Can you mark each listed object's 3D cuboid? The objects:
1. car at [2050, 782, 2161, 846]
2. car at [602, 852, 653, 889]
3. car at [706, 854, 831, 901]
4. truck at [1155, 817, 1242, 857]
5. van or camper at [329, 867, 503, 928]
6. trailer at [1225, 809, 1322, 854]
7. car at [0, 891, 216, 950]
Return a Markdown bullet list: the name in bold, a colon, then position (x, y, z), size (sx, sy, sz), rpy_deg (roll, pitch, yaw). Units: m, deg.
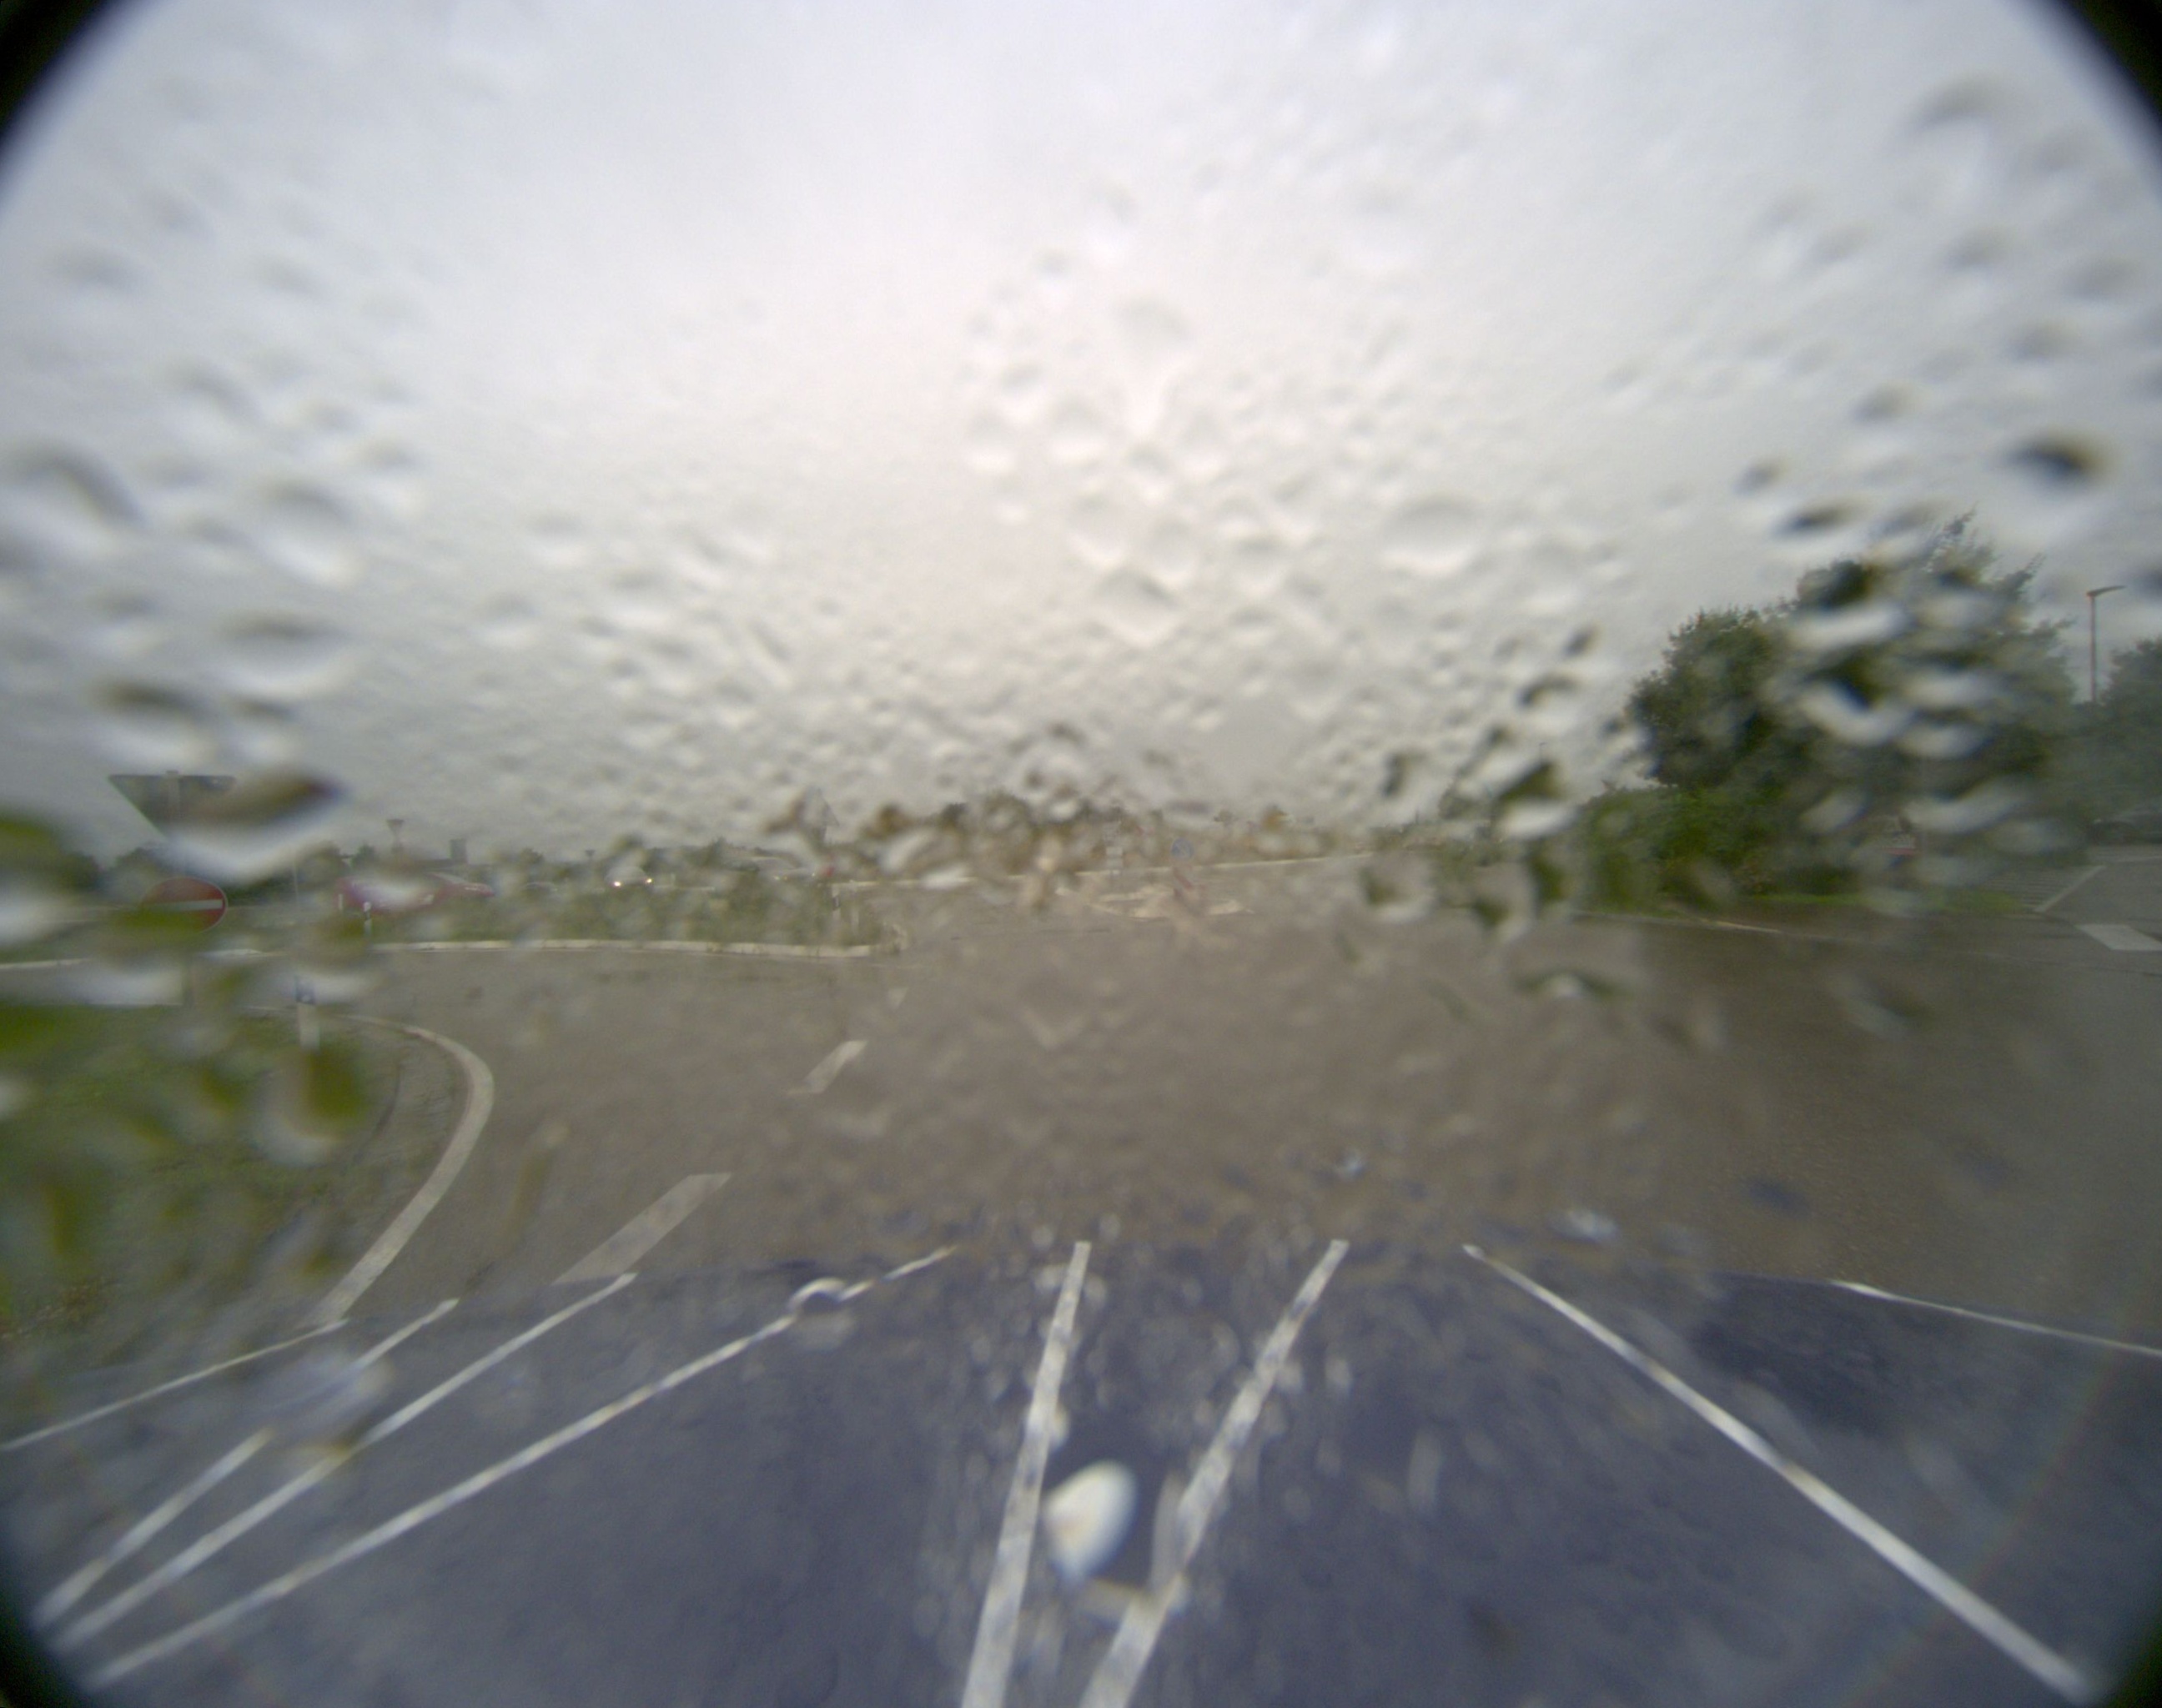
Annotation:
- **car**: position (31.269, -1.195, 21.317), size (2.000, 1.711, 4.605), rpy_deg (-3, 0, -12)
- **car**: position (-22.614, 0.763, 37.831), size (1.829, 1.582, 3.989), rpy_deg (-7, 4, -33)
- **car**: position (-11.951, 0.897, 29.009), size (4.488, 1.566, 2.003), rpy_deg (-2, 2, 30)
- **truck**: position (11.925, -1.701, 77.696), size (8.152, 3.577, 3.123), rpy_deg (-3, 1, 41)
- **van or camper**: position (-27.161, 1.718, 31.255), size (4.851, 2.003, 1.996), rpy_deg (-3, 3, -20)
- **trailer**: position (17.866, -2.029, 71.121), size (3.105, 3.593, 8.838), rpy_deg (-4, 0, -34)
- **car**: position (-35.099, 2.330, 27.491), size (4.531, 1.594, 1.995), rpy_deg (-4, 0, -32)
